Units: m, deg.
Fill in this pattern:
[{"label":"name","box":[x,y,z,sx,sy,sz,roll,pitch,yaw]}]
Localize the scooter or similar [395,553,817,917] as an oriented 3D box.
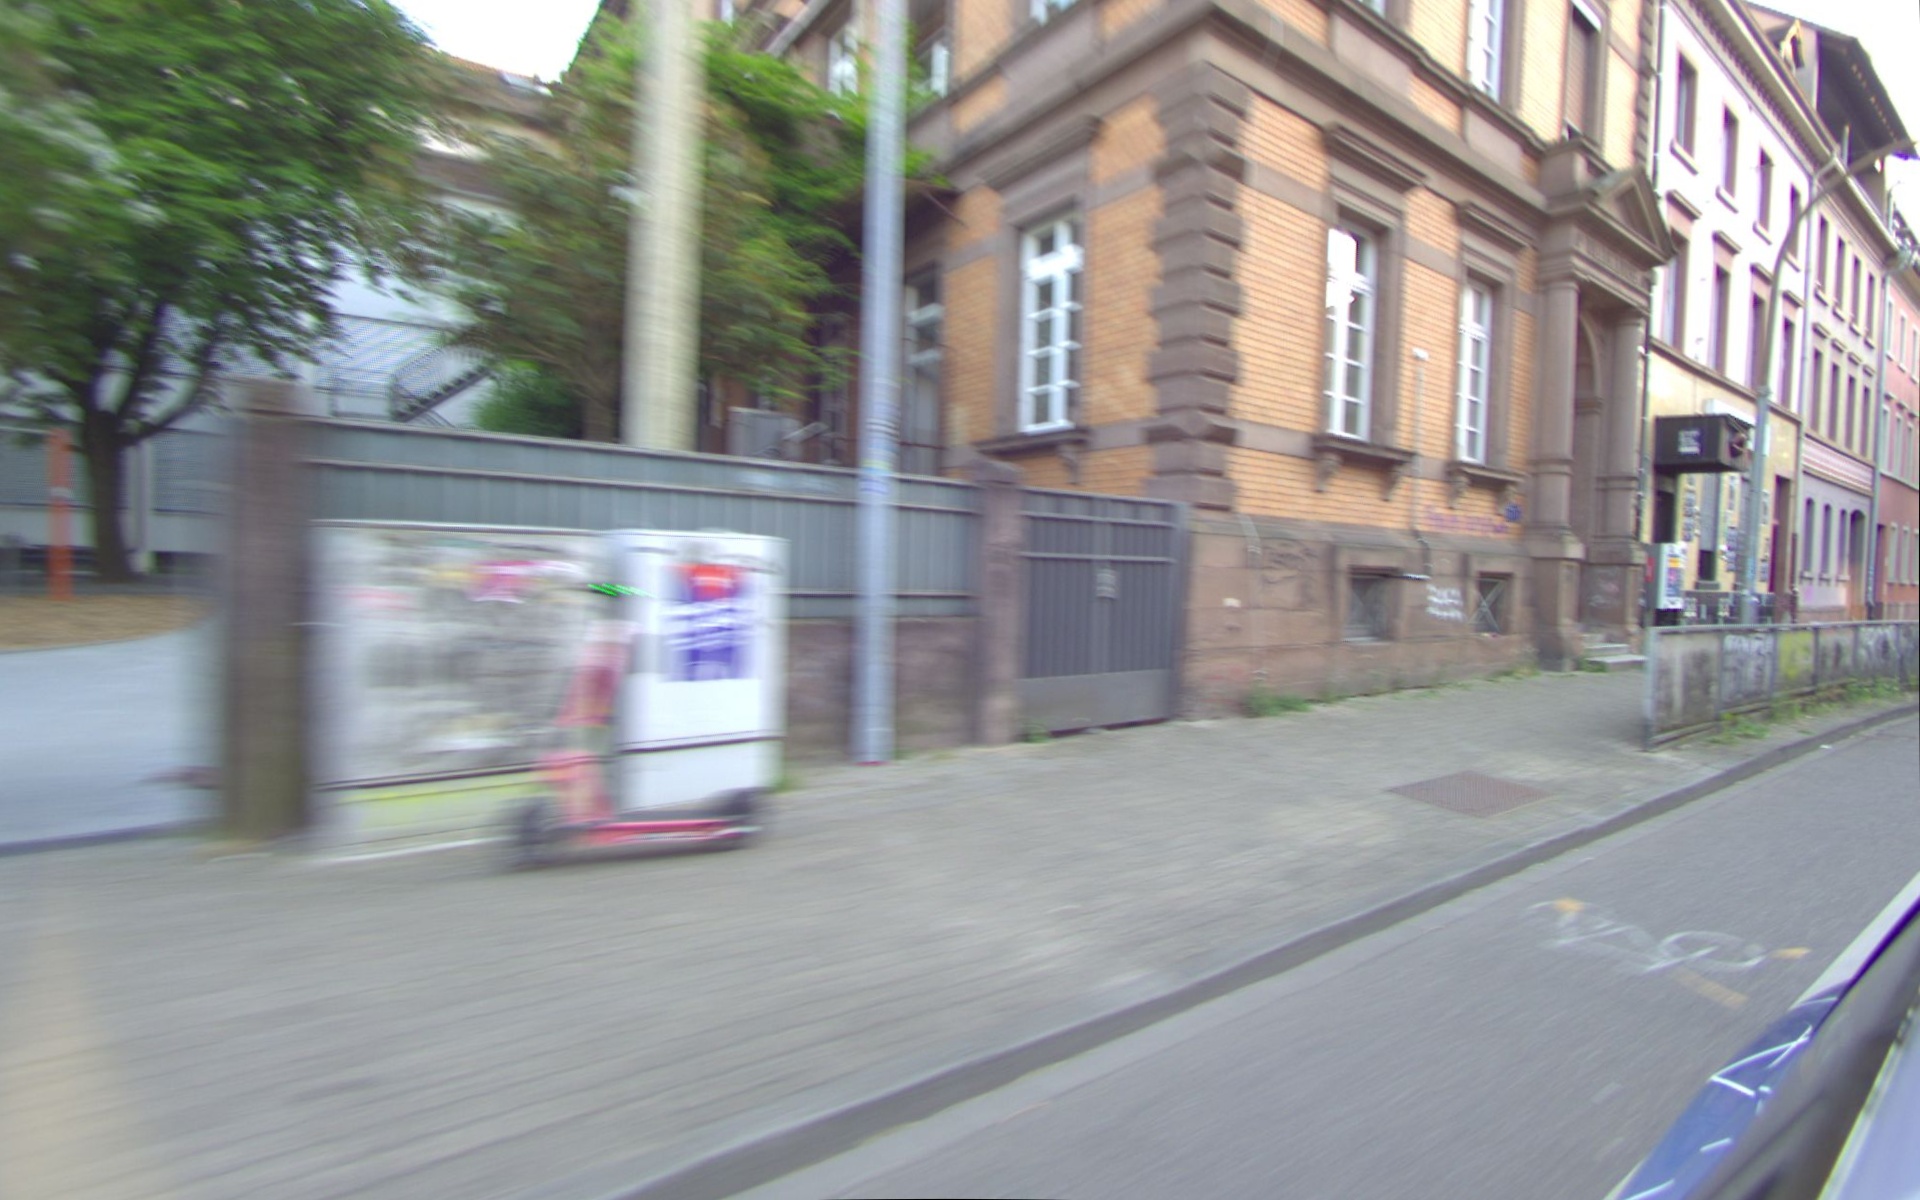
[{"label":"scooter or similar","box":[-1.472,0.472,4.328,1.554,1.281,0.643,0,3,-38]}]
